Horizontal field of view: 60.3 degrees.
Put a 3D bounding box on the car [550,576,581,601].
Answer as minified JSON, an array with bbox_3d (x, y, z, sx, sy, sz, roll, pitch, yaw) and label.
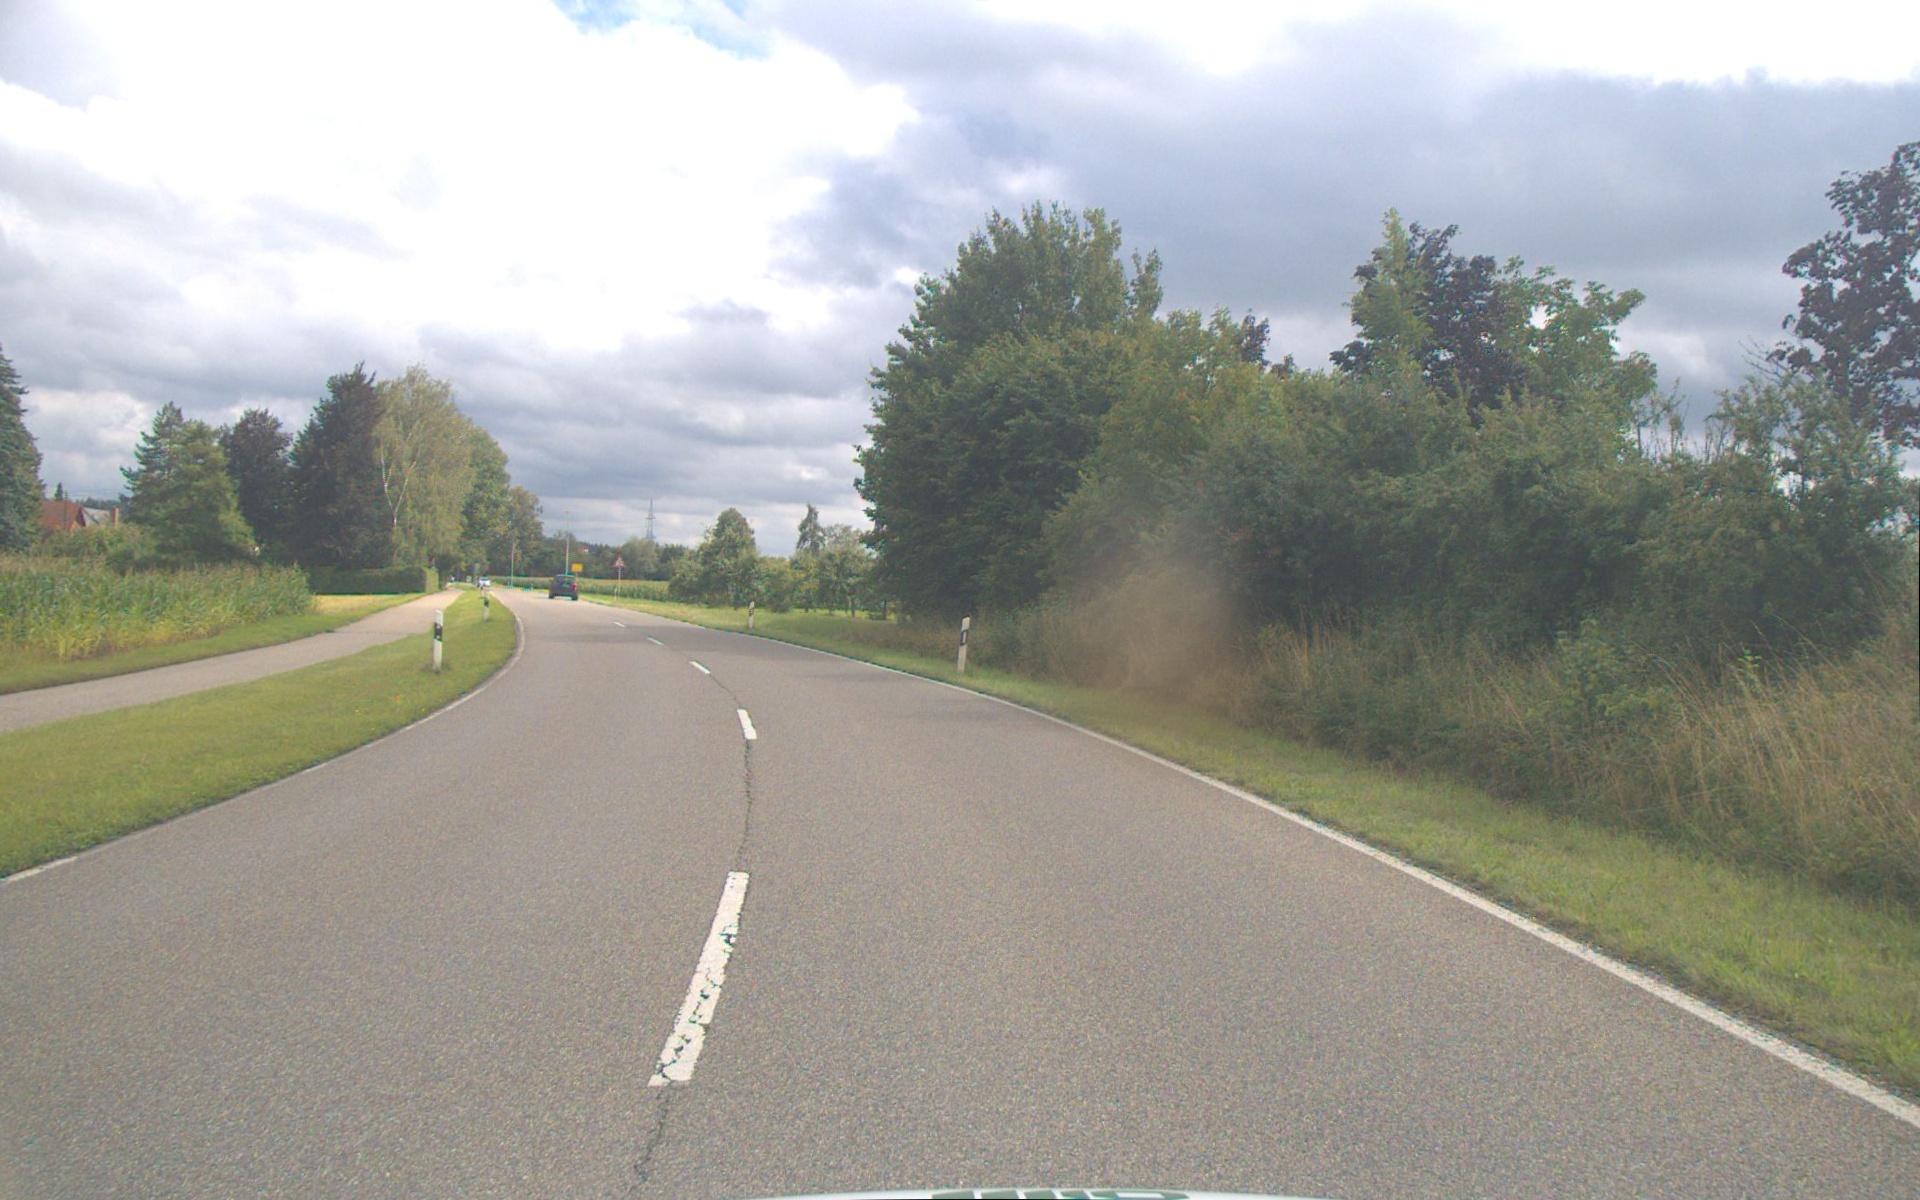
[{"bbox_3d":[-27.326,-0.810,114.422,1.876,1.695,3.982,1,0,-16],"label":"car"}]
